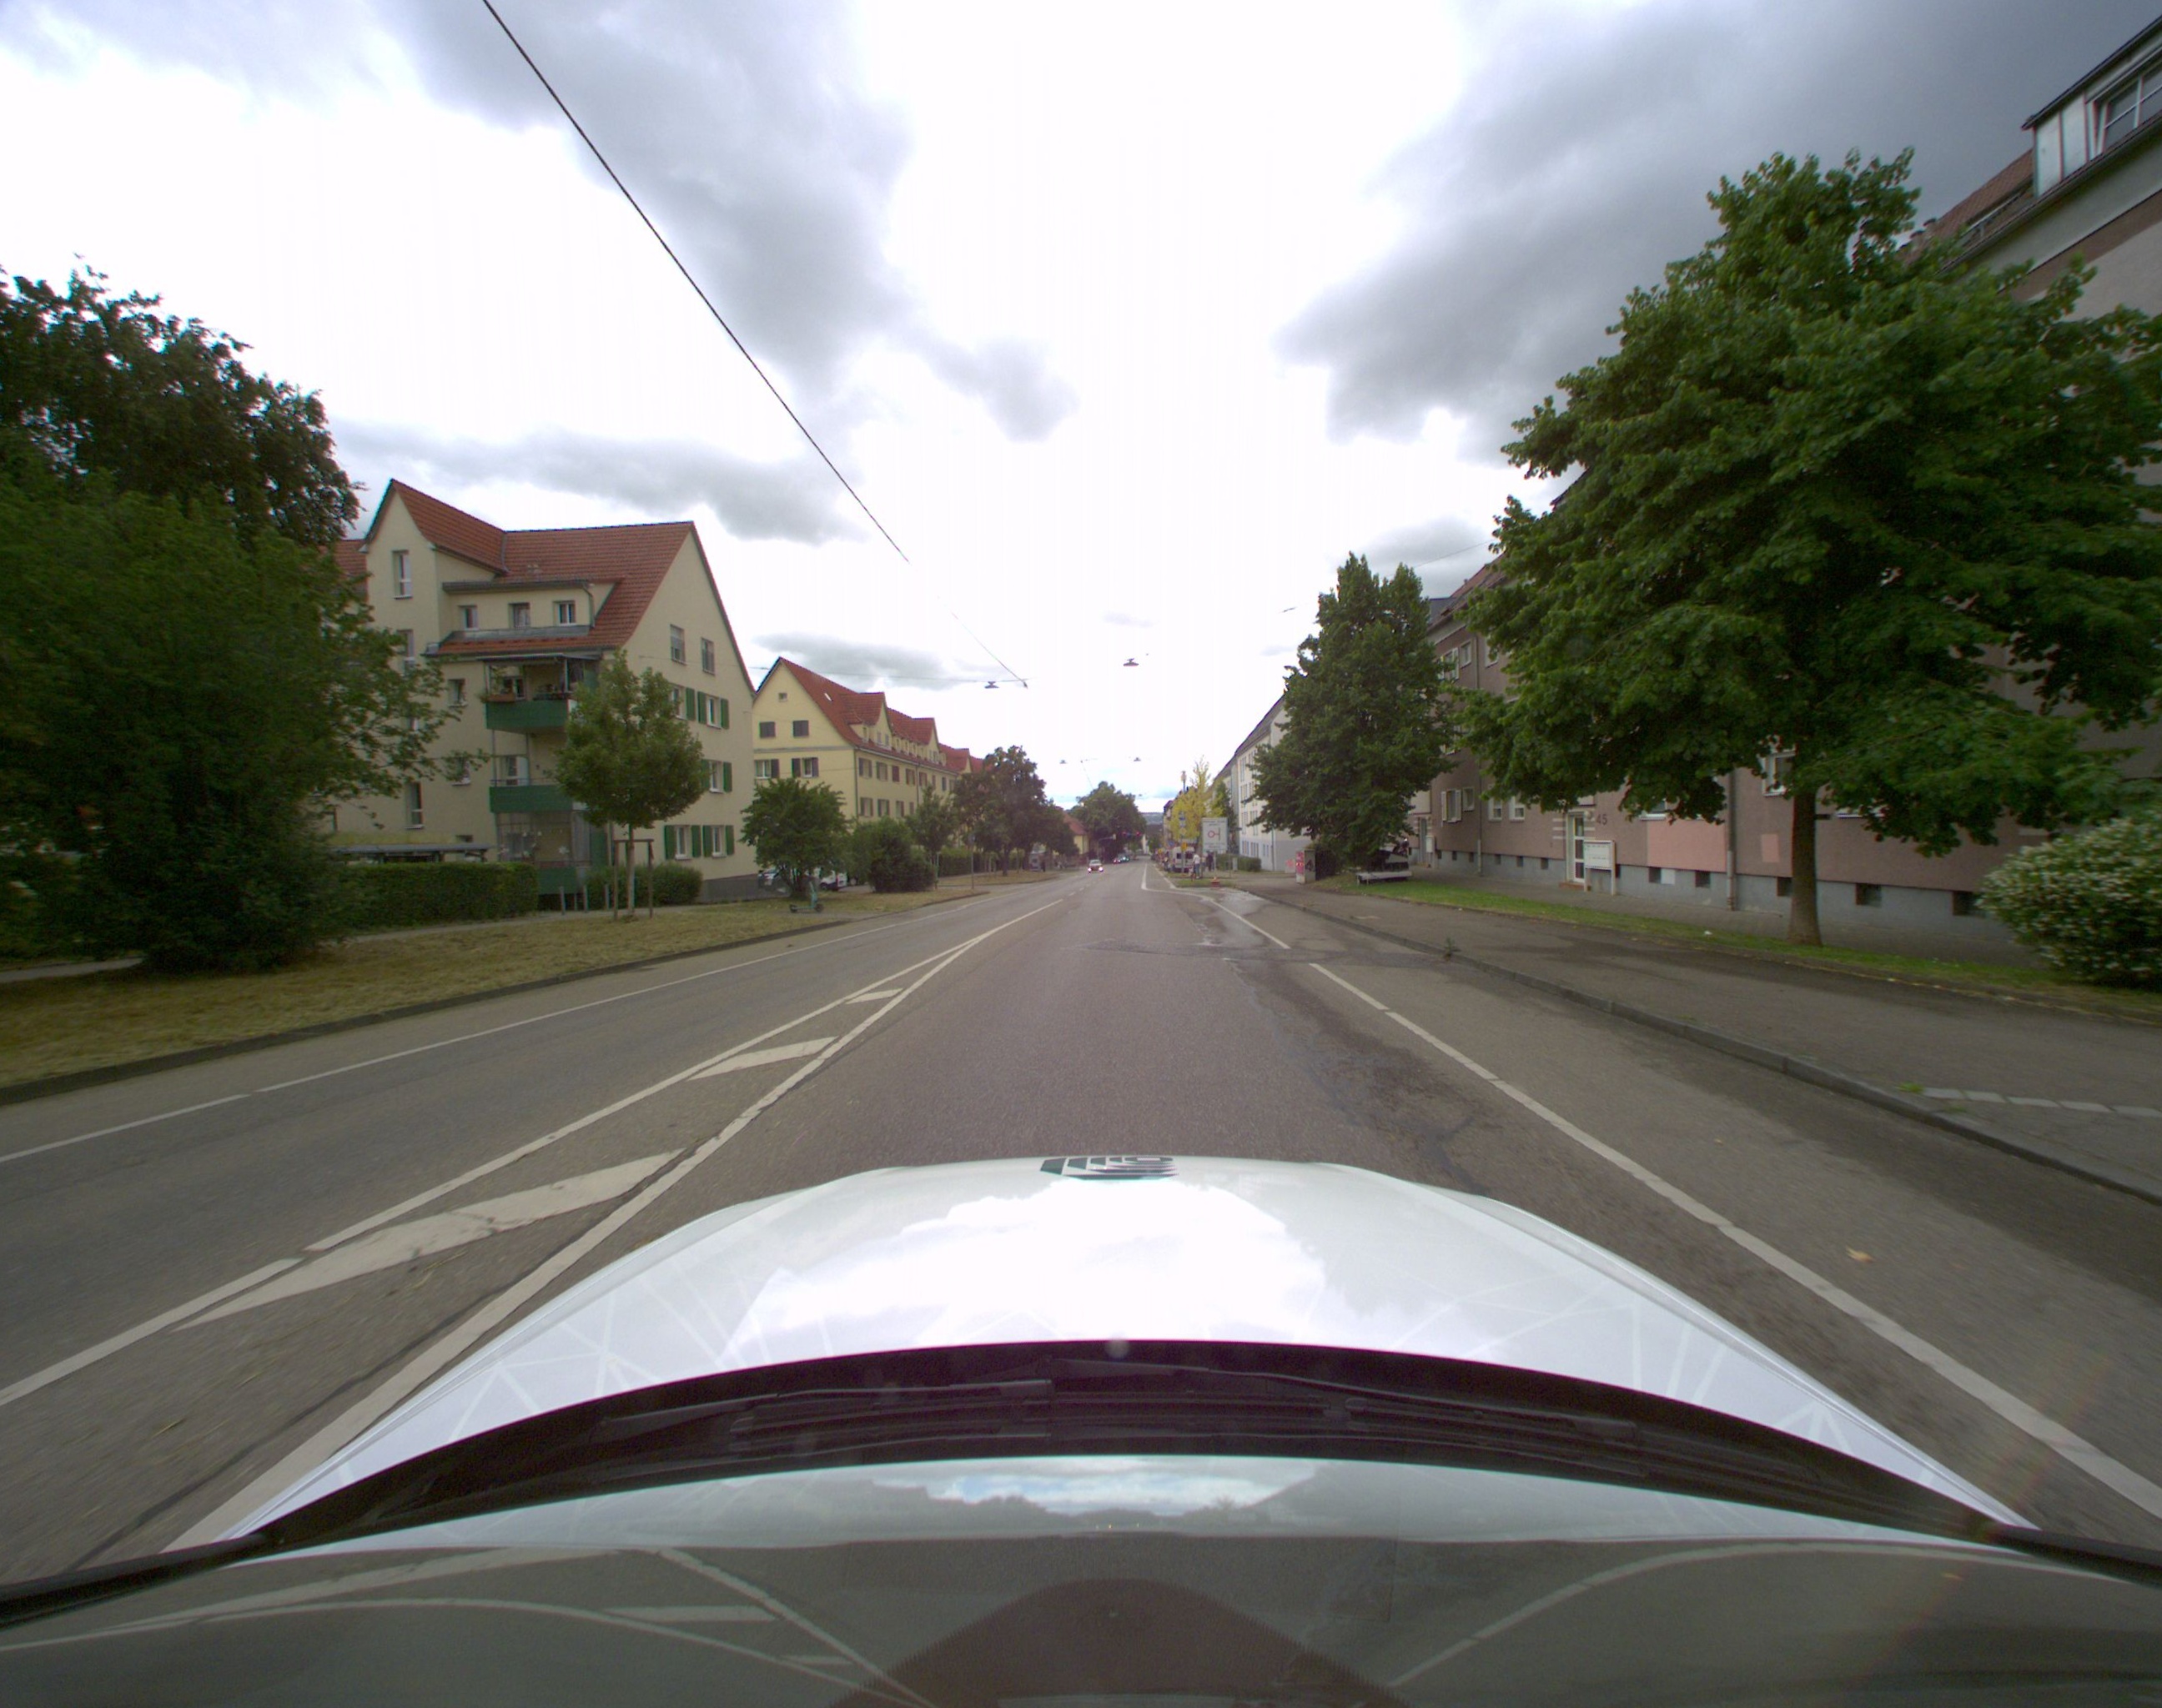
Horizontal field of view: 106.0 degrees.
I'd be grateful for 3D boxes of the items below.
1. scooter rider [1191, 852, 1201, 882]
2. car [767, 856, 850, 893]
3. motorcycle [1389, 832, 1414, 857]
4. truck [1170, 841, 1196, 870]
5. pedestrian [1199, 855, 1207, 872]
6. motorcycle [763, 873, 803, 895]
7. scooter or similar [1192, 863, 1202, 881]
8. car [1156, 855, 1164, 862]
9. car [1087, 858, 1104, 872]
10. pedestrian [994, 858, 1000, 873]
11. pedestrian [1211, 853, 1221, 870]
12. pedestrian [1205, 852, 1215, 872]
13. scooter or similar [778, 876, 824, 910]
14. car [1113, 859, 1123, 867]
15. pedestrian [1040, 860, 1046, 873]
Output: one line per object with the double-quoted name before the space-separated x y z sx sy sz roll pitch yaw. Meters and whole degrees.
"scooter rider" 7.834 0.884 55.550 0.623 2.013 0.758 -1 0 3
"car" -17.849 1.328 53.488 4.696 2.253 1.997 -2 -1 4
"motorcycle" 15.766 -0.453 40.120 0.588 1.227 1.969 -1 0 4
"truck" 9.398 0.140 75.414 2.043 2.565 5.695 -1 0 3
"pedestrian" 11.873 0.918 79.313 0.576 1.644 0.559 -2 -2 -10
"motorcycle" -18.236 1.849 49.850 2.572 1.278 1.023 -1 0 37
"scooter or similar" 7.869 1.228 55.328 0.488 1.163 2.077 -1 0 4
"car" 23.623 1.249 242.507 1.986 1.935 4.921 -1 0 2
"car" 1.864 1.412 104.984 1.890 1.620 4.368 -1 0 5
"pedestrian" -9.890 1.374 96.177 0.511 1.779 0.754 -1 0 4
"pedestrian" 13.040 0.741 78.583 0.656 1.605 0.574 -6 0 -5
"pedestrian" 12.389 0.751 78.201 0.669 1.887 0.764 -2 -2 -8
"scooter or similar" -9.559 1.340 27.778 1.365 1.086 0.467 -2 0 -1
"car" 8.336 2.027 184.737 1.746 1.472 4.316 -3 0 8
"pedestrian" -5.006 1.665 107.307 0.594 1.727 0.863 -1 0 7
